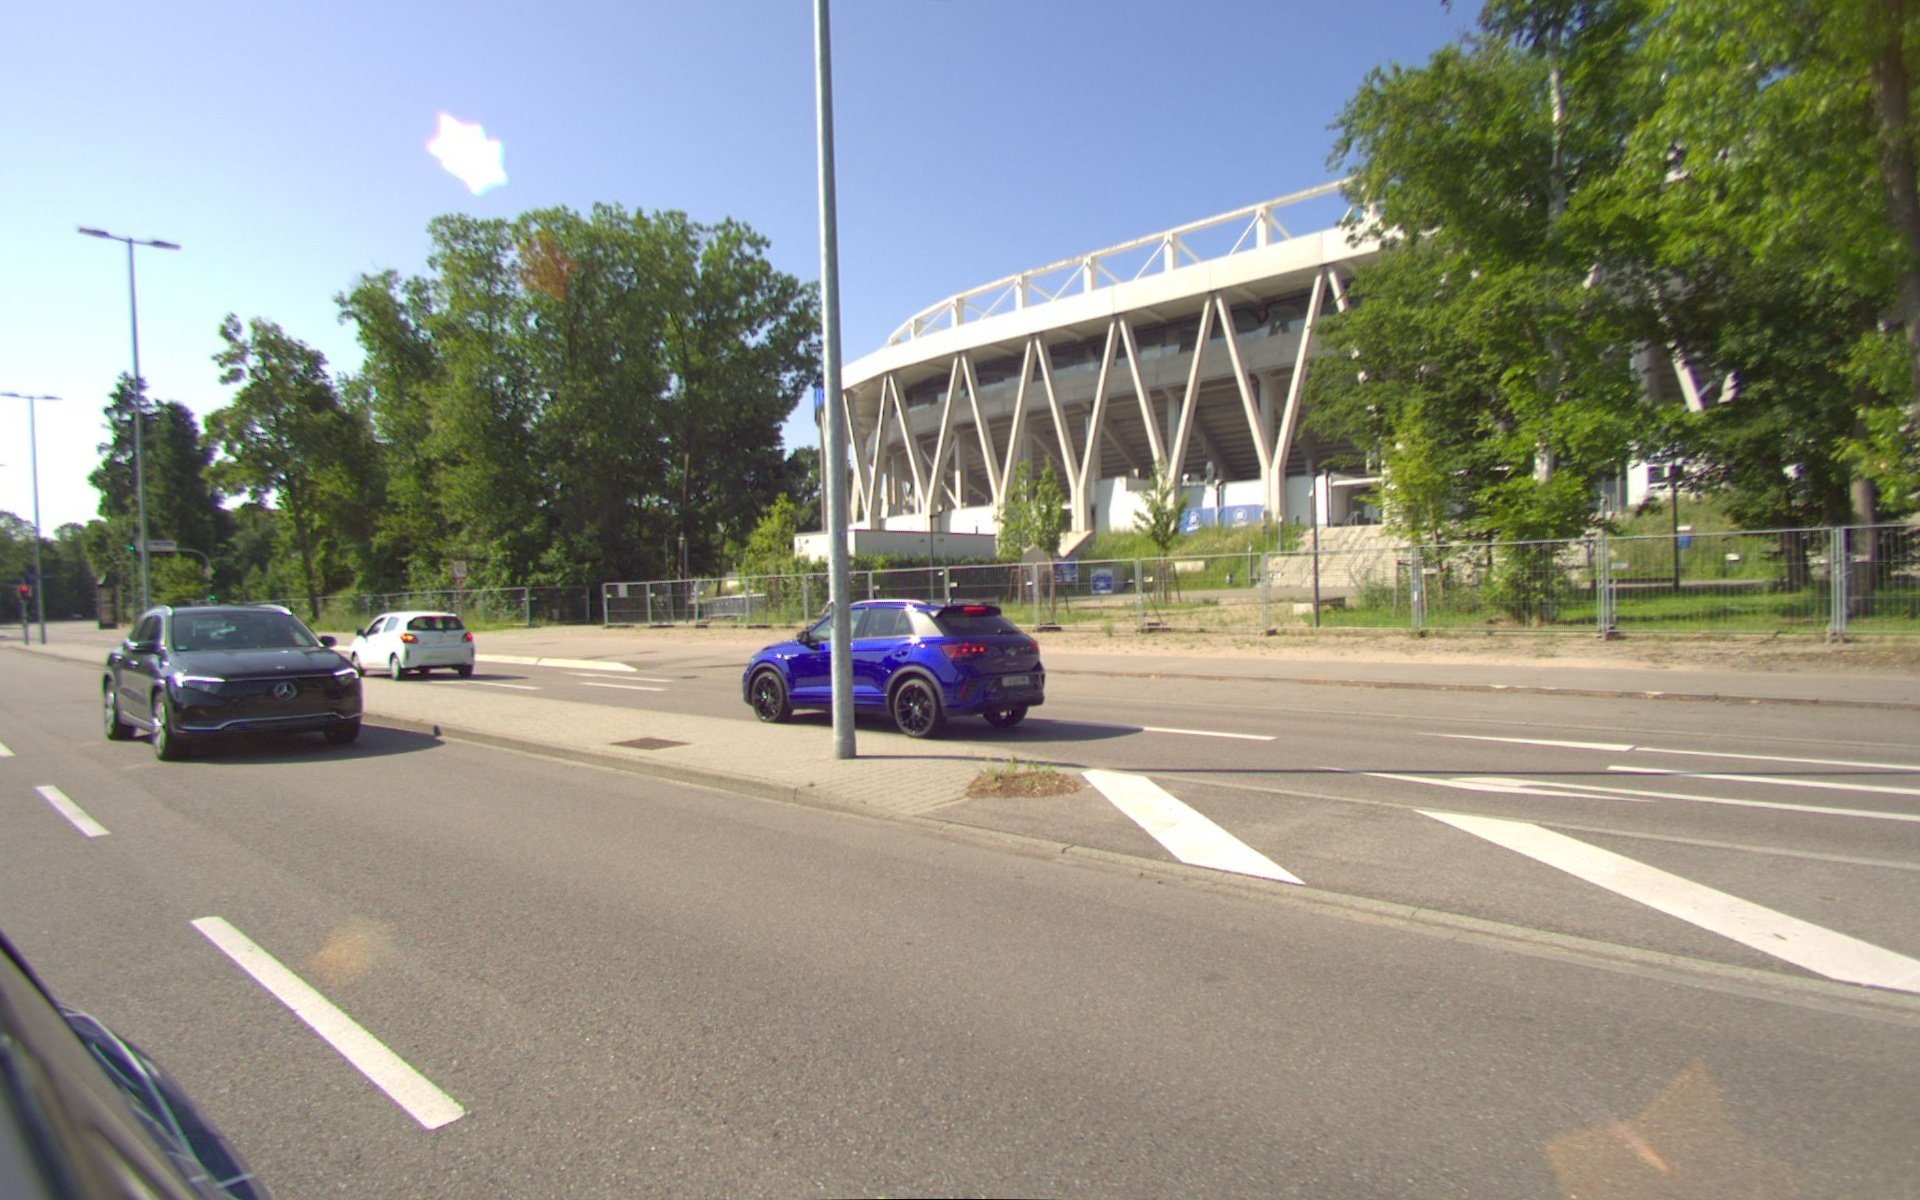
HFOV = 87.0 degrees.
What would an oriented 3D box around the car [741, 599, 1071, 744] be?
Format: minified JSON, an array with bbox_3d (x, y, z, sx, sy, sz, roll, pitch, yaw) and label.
[{"bbox_3d":[-0.767,0.777,12.396,3.945,1.497,1.735,-1,-1,41],"label":"car"}]

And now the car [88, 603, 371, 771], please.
[{"bbox_3d":[-8.600,0.872,11.770,4.271,1.608,1.785,-1,-1,42],"label":"car"}]

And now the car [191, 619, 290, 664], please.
[{"bbox_3d":[-23.863,1.348,33.511,4.160,1.398,1.791,-1,-2,42],"label":"car"}]

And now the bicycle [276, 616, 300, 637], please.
[{"bbox_3d":[-38.595,1.512,58.145,1.878,1.144,0.653,-2,2,42],"label":"bicycle"}]

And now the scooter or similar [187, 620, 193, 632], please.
[{"bbox_3d":[-71.315,2.410,93.725,0.390,1.154,1.198,-2,0,-40],"label":"scooter or similar"}]

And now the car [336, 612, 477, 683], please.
[{"bbox_3d":[-12.626,1.036,23.000,3.798,1.477,1.606,-1,-2,41],"label":"car"}]

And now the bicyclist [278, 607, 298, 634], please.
[{"bbox_3d":[-38.535,1.179,58.049,1.057,1.478,0.653,-2,2,41],"label":"bicyclist"}]
